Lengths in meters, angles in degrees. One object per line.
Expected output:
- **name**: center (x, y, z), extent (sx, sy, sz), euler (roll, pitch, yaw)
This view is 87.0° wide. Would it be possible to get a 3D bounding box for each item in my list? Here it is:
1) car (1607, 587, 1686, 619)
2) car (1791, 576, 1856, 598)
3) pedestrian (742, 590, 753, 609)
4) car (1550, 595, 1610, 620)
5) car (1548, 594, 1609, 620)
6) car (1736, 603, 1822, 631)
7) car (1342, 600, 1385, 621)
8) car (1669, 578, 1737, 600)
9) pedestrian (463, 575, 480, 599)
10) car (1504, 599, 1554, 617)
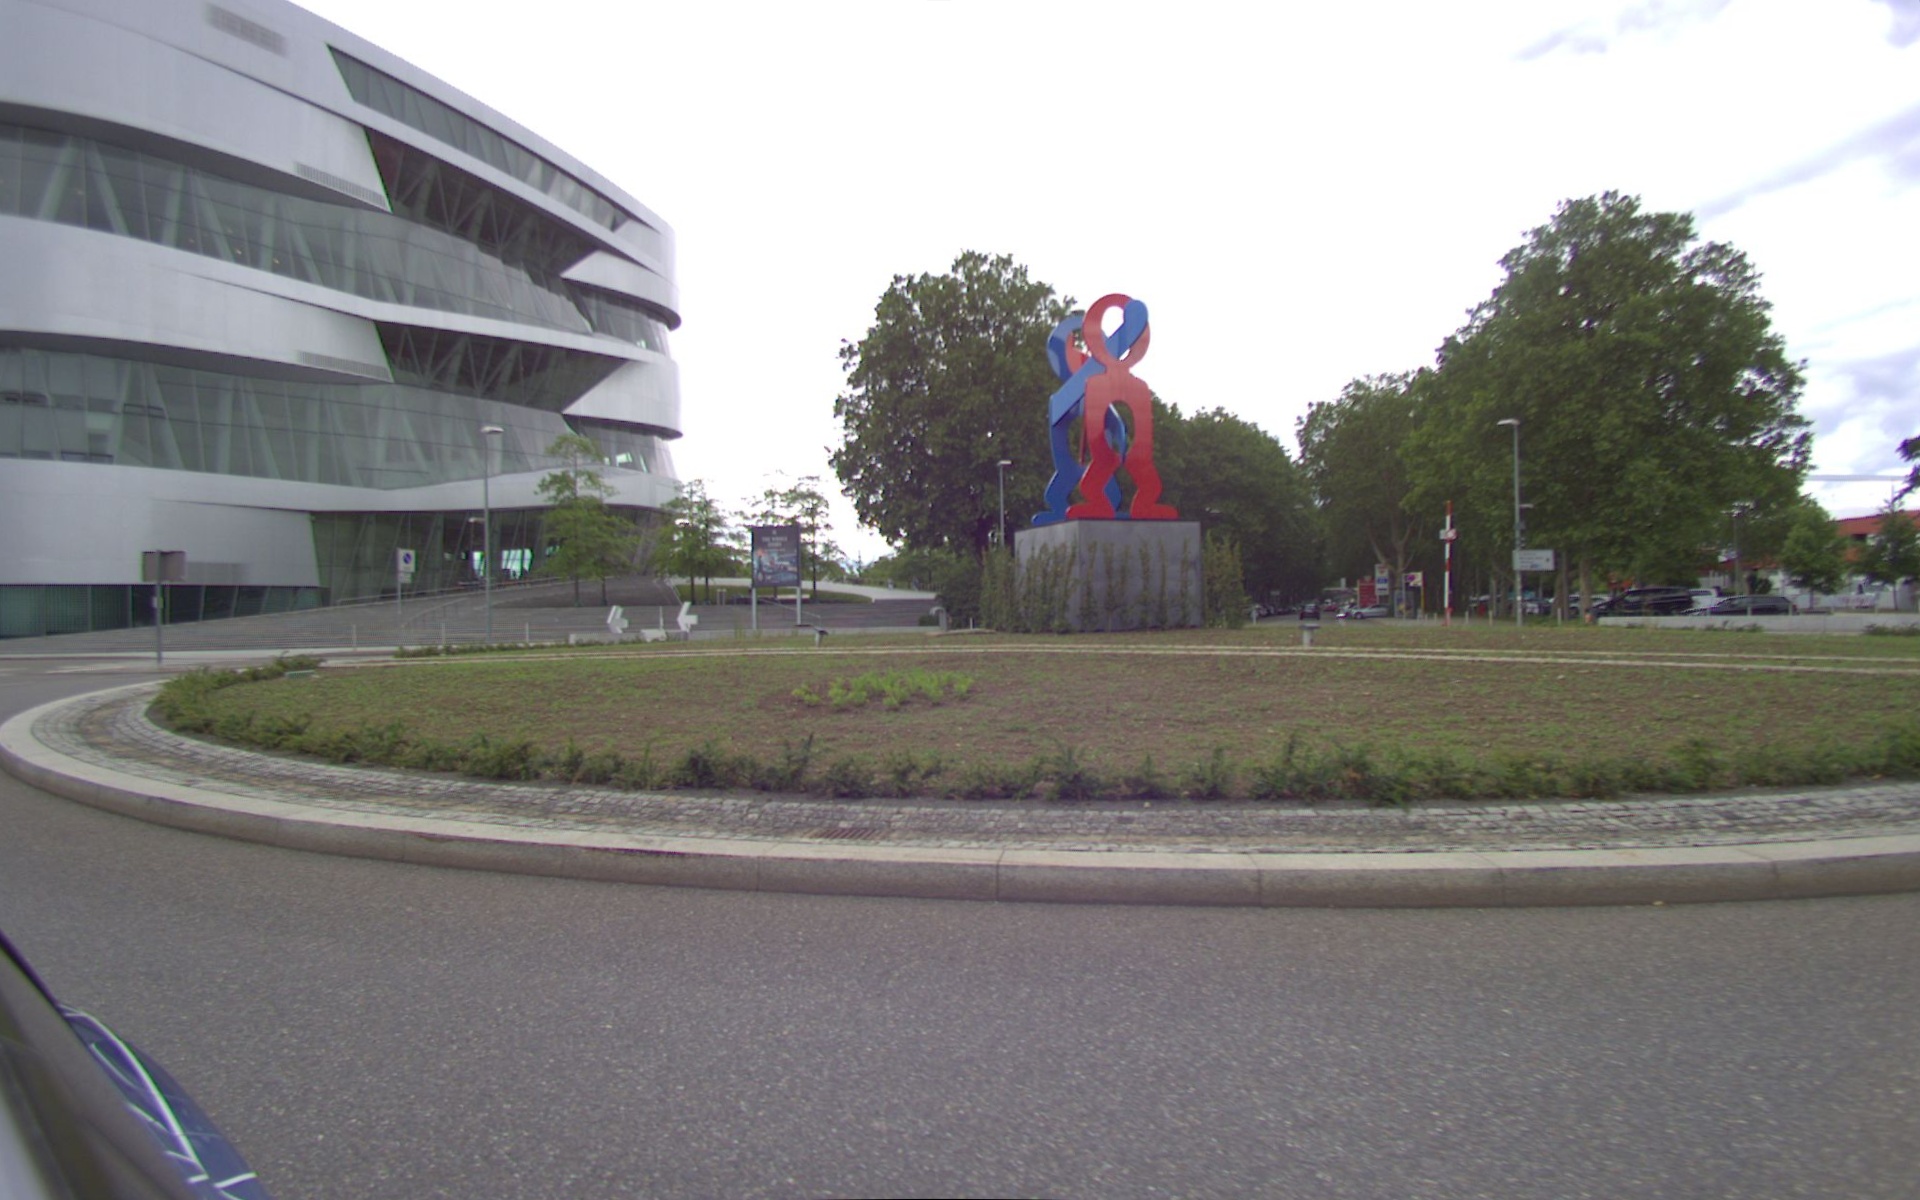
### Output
- **car**: center (41.967, 0.212, 61.969), extent (3.688, 1.791, 1.657), euler (-3, -2, 24)
- **car**: center (76.621, -1.140, 89.823), extent (3.926, 1.664, 1.785), euler (-2, -2, 20)
- **pedestrian**: center (-16.990, -0.039, 80.878), extent (0.778, 1.398, 0.684), euler (-1, -2, -8)
- **car**: center (47.543, 0.595, 77.688), extent (3.694, 1.791, 1.654), euler (-3, -2, 28)
- **car**: center (46.234, 0.564, 75.729), extent (3.695, 1.791, 1.654), euler (-3, -2, 29)
- **car**: center (49.645, 1.043, 61.428), extent (3.695, 1.547, 1.654), euler (-3, -2, 29)
- **car**: center (38.033, 0.973, 95.353), extent (3.688, 1.791, 1.657), euler (-3, -2, 24)
- **car**: center (65.110, -0.954, 88.792), extent (4.403, 1.664, 1.785), euler (-2, -2, 20)
- **pedestrian**: center (-41.781, -1.095, 86.566), extent (0.848, 1.938, 0.944), euler (-3, 2, 27)
- **car**: center (54.182, 0.796, 96.371), extent (3.992, 1.530, 1.852), euler (-3, -2, 31)
